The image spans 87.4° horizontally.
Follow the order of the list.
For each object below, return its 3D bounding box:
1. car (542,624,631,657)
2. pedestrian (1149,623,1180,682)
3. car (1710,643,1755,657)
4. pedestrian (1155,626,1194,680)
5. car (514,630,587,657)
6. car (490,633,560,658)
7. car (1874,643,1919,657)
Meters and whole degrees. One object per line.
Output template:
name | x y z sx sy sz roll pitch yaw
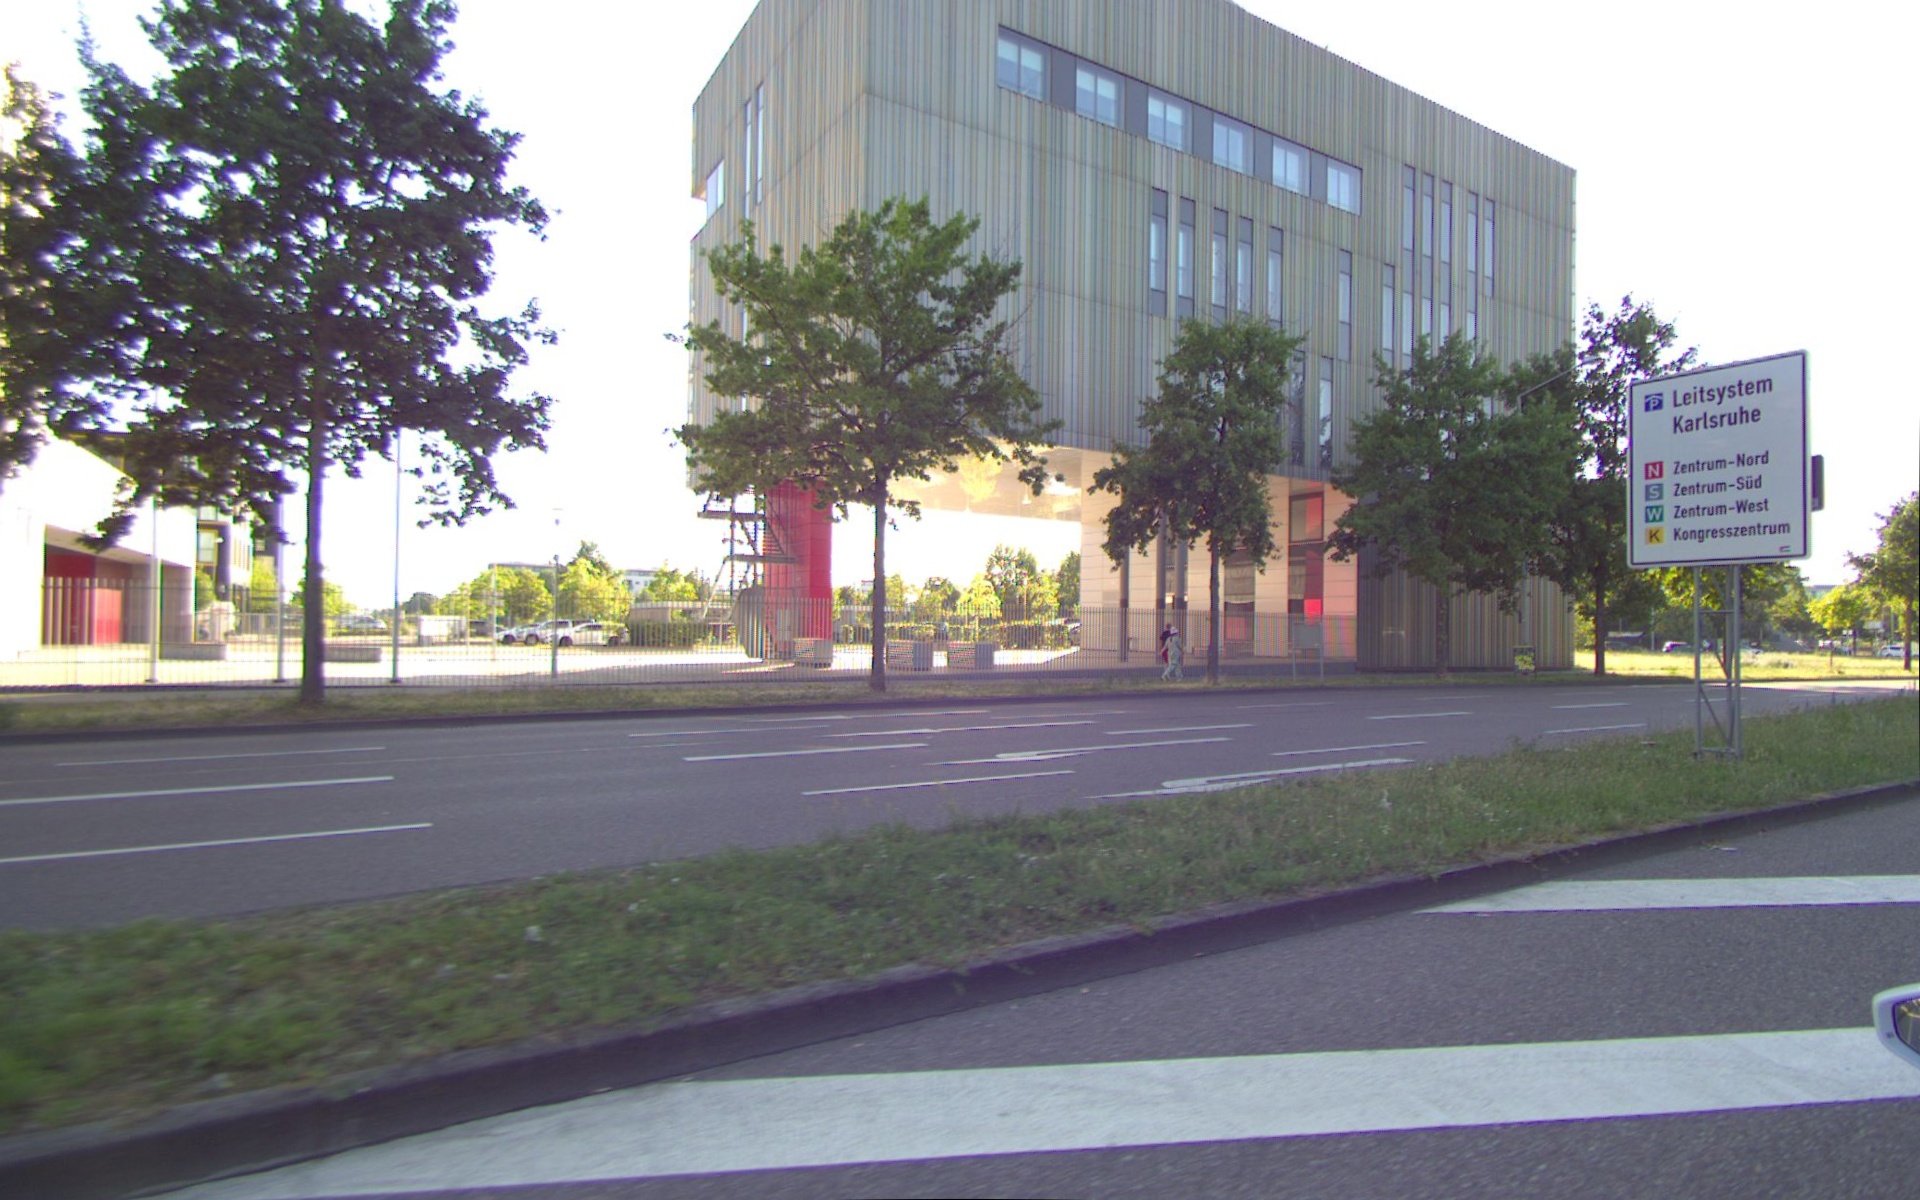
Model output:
car | -22.431 2.435 60.422 4.734 1.899 1.894 2 -1 -33
pedestrian | 6.527 1.659 32.073 0.708 1.865 0.629 1 -1 -30
car | 89.502 5.797 116.387 3.634 1.528 1.876 0 -1 17
pedestrian | 6.628 1.632 31.021 0.898 1.622 0.772 1 -1 -30
car | -28.875 3.060 70.882 4.458 1.773 1.894 2 -1 -33
car | -33.273 3.471 76.880 4.734 1.843 1.894 2 -1 -33
car | 104.917 5.538 111.885 4.222 1.528 1.876 0 -1 17
